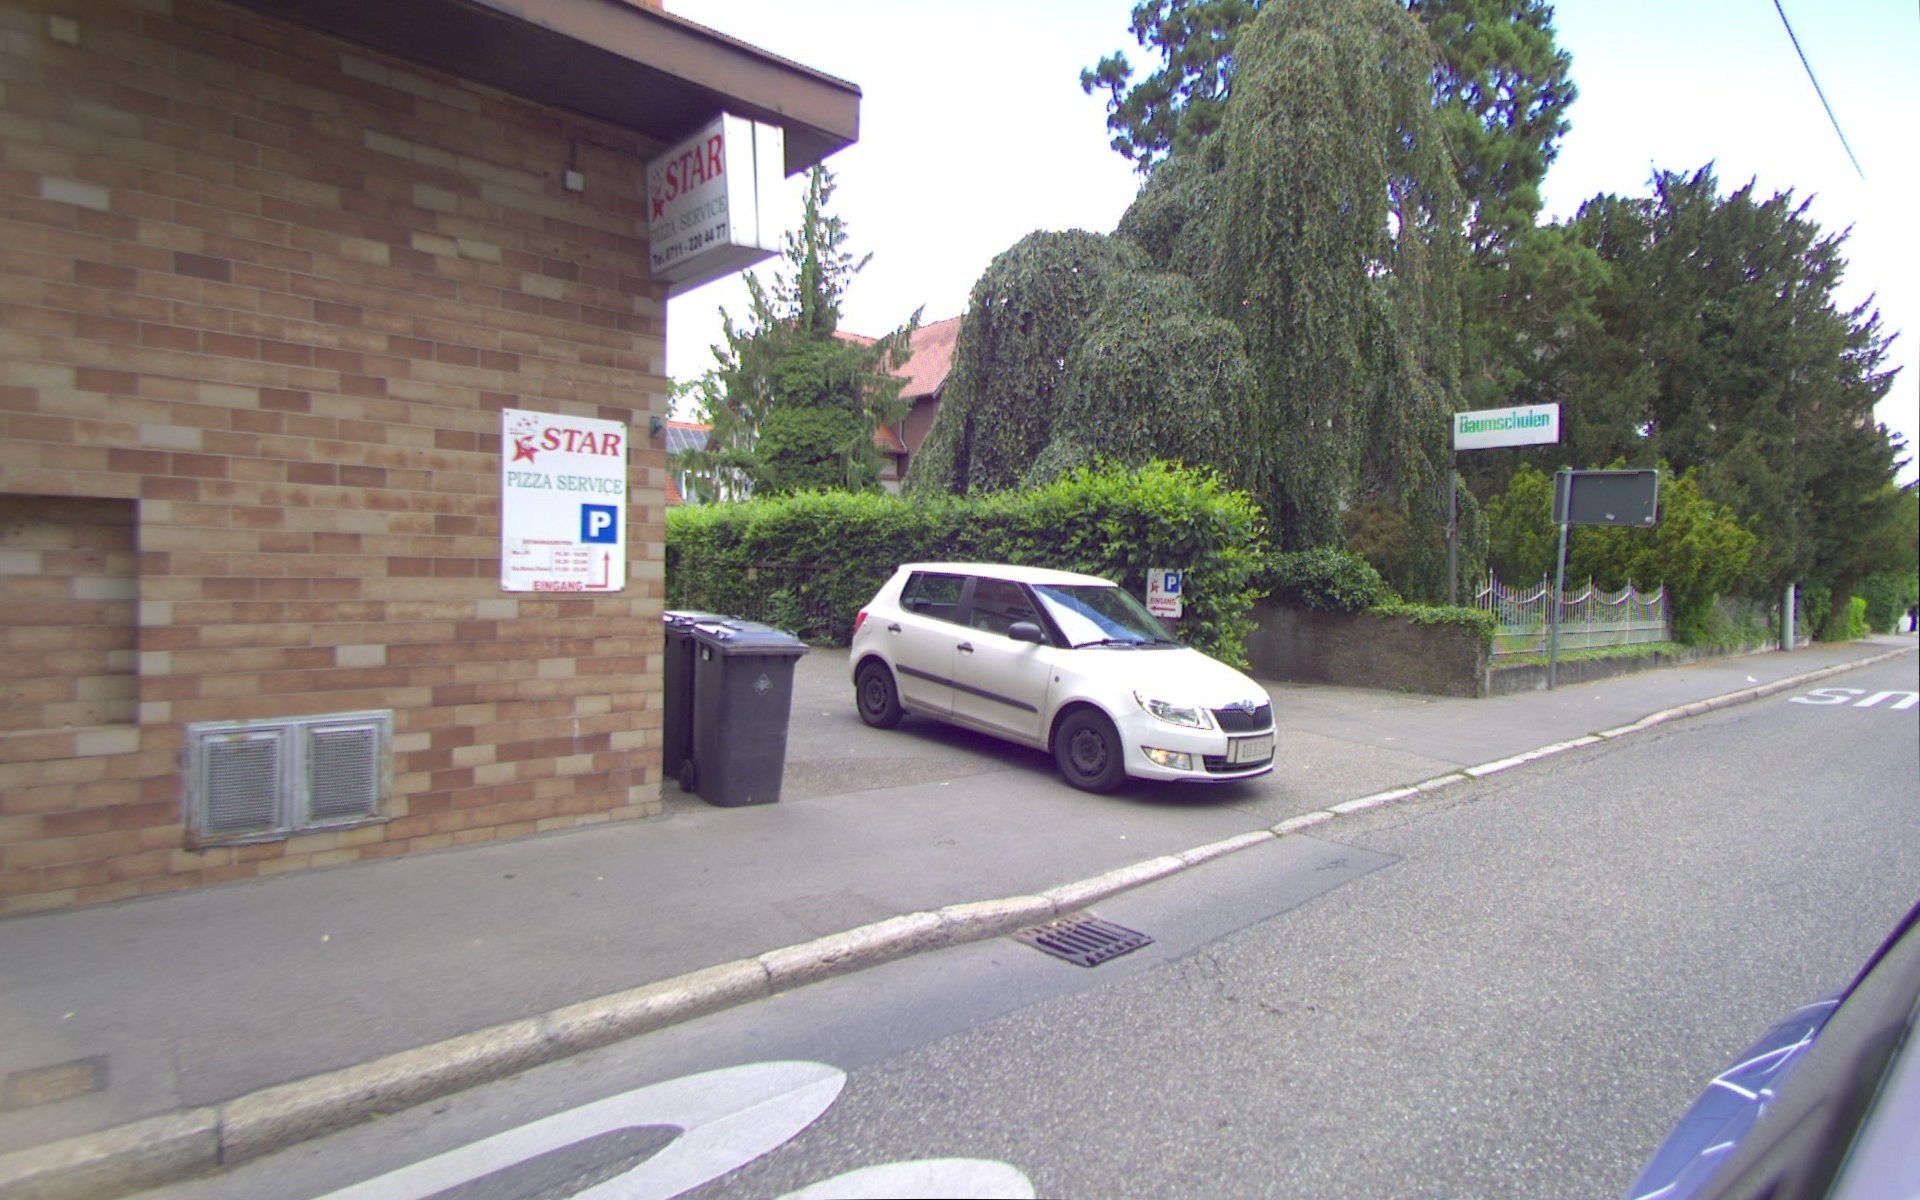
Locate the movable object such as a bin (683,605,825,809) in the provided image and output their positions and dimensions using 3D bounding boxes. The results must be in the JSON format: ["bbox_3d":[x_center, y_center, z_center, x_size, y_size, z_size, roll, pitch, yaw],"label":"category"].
[{"bbox_3d":[-1.264,0.611,6.185,0.612,1.114,0.608,0,3,-41],"label":"movable object such as a bin"}]

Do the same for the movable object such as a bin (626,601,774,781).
[{"bbox_3d":[-1.745,0.567,6.782,0.711,1.072,0.700,-1,4,-41],"label":"movable object such as a bin"}]

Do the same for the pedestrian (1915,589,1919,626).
[{"bbox_3d":[46.393,0.346,48.608,0.657,1.789,0.491,0,0,-10],"label":"pedestrian"}]

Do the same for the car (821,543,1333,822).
[{"bbox_3d":[0.707,0.422,8.258,1.574,1.487,4.036,-1,6,-43],"label":"car"}]
